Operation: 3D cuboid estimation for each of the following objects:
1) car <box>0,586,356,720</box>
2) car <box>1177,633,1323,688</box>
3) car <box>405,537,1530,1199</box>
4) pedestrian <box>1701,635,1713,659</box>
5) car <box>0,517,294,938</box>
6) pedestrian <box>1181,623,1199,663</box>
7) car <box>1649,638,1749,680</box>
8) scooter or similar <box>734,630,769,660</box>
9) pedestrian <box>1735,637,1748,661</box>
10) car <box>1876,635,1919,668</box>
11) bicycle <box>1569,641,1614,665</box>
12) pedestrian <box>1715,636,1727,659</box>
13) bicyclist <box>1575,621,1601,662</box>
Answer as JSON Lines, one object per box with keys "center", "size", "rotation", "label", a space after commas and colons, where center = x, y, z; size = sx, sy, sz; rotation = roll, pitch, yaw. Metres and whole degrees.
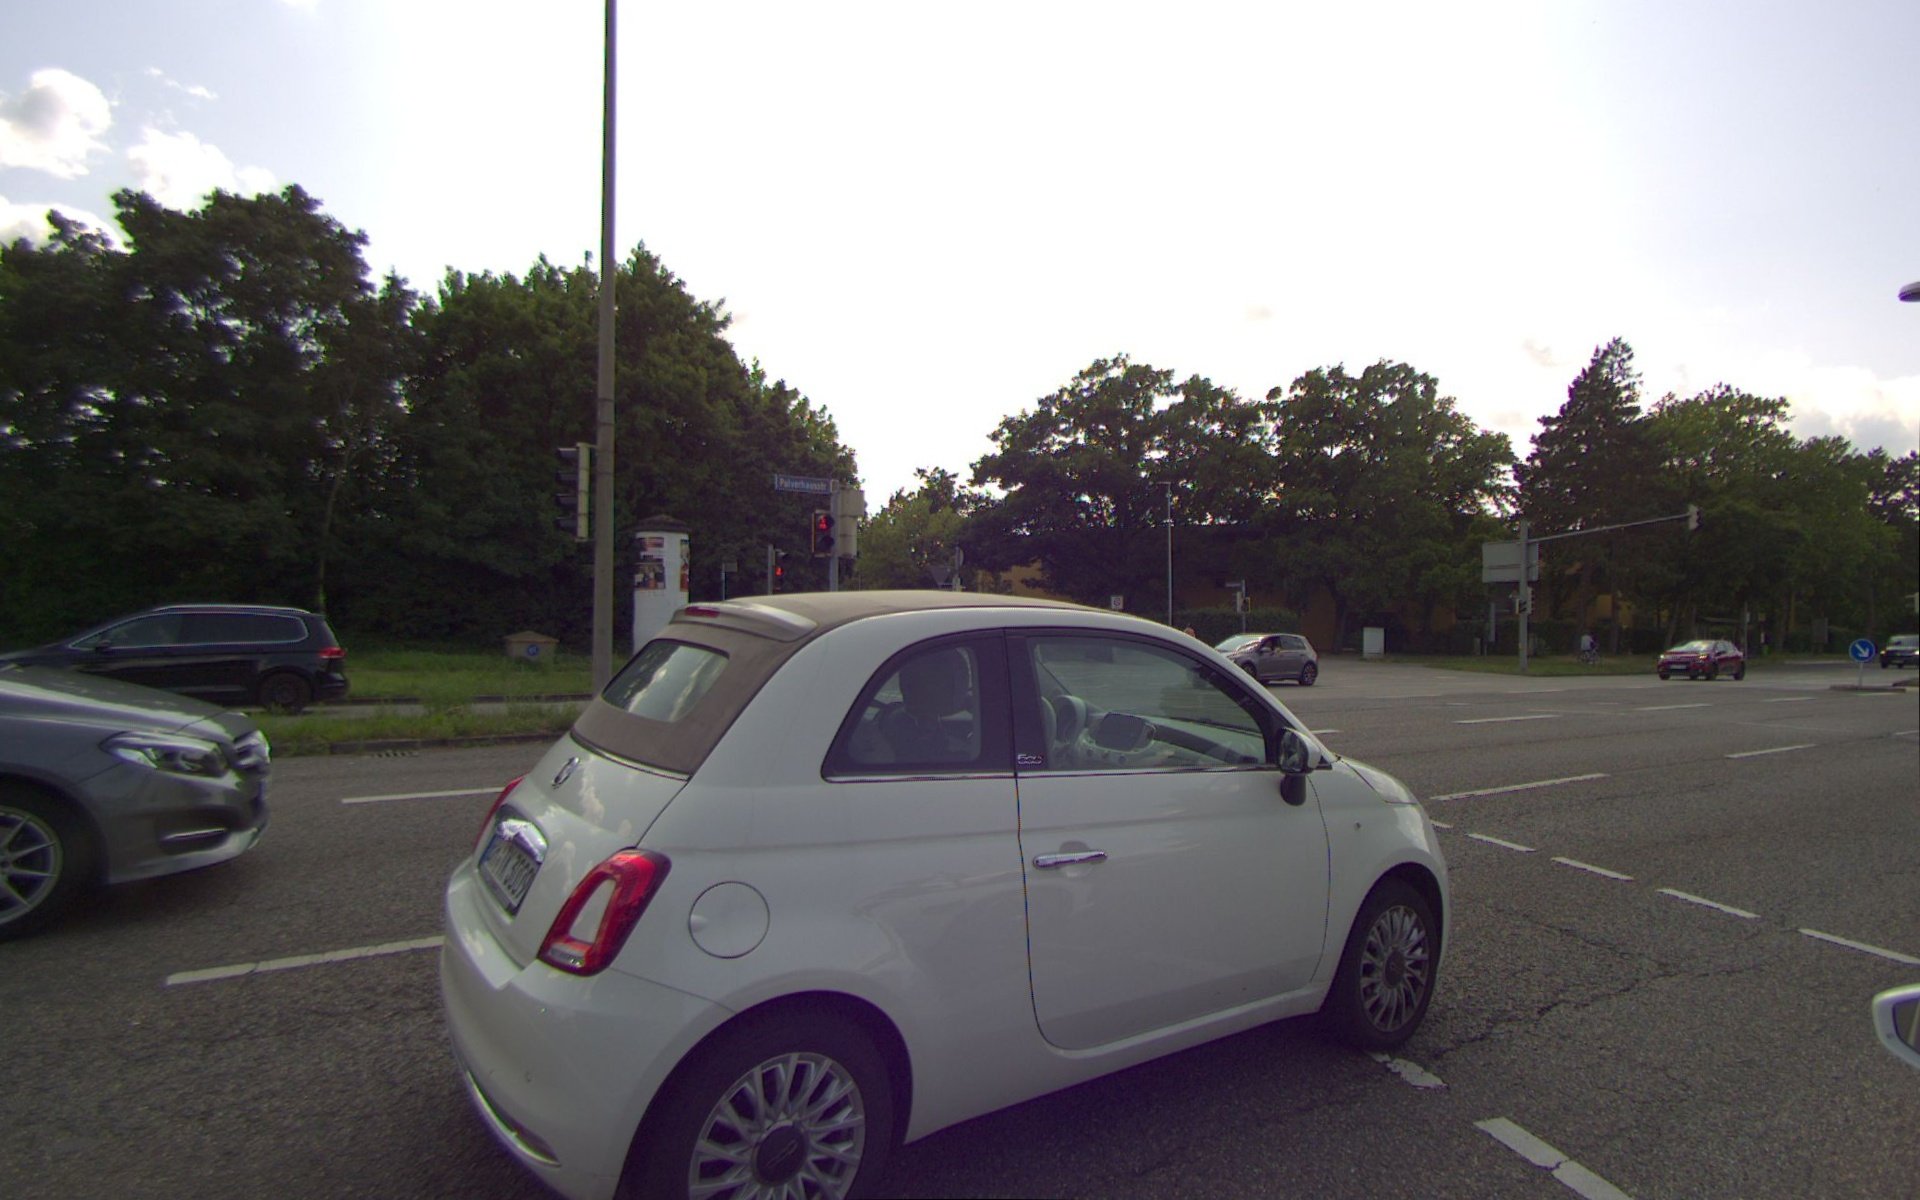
{"center": [-11.534, 0.777, 14.956], "size": [4.265, 1.764, 1.661], "rotation": [3, -2, -34], "label": "car"}
{"center": [7.931, 1.615, 27.326], "size": [4.038, 1.390, 1.585], "rotation": [2, -2, -33], "label": "car"}
{"center": [0.228, 0.706, 3.385], "size": [3.505, 1.517, 1.559], "rotation": [3, 0, -35], "label": "car"}
{"center": [49.300, 3.086, 66.309], "size": [0.563, 1.515, 0.419], "rotation": [3, 0, 42], "label": "pedestrian"}
{"center": [-5.235, 0.454, 3.926], "size": [4.314, 1.640, 1.688], "rotation": [2, -1, -34], "label": "car"}
{"center": [10.342, 1.943, 45.222], "size": [0.679, 1.765, 0.705], "rotation": [0, -2, 22], "label": "pedestrian"}
{"center": [27.623, 2.186, 37.504], "size": [4.413, 1.484, 1.759], "rotation": [2, -2, -36], "label": "car"}
{"center": [-6.784, 1.471, 32.720], "size": [1.023, 0.954, 0.295], "rotation": [3, 0, -27], "label": "scooter or similar"}
{"center": [50.650, 3.143, 65.092], "size": [0.563, 1.515, 0.419], "rotation": [3, 0, 42], "label": "pedestrian"}
{"center": [56.537, 3.023, 59.885], "size": [4.766, 1.881, 1.755], "rotation": [2, -2, -34], "label": "car"}
{"center": [31.245, 2.616, 49.716], "size": [2.082, 1.133, 0.754], "rotation": [1, -2, -19], "label": "bicycle"}
{"center": [49.899, 3.112, 65.875], "size": [0.563, 1.515, 0.419], "rotation": [3, 0, 42], "label": "pedestrian"}
{"center": [31.043, 2.049, 49.653], "size": [0.819, 2.040, 0.750], "rotation": [1, -2, -19], "label": "bicyclist"}
